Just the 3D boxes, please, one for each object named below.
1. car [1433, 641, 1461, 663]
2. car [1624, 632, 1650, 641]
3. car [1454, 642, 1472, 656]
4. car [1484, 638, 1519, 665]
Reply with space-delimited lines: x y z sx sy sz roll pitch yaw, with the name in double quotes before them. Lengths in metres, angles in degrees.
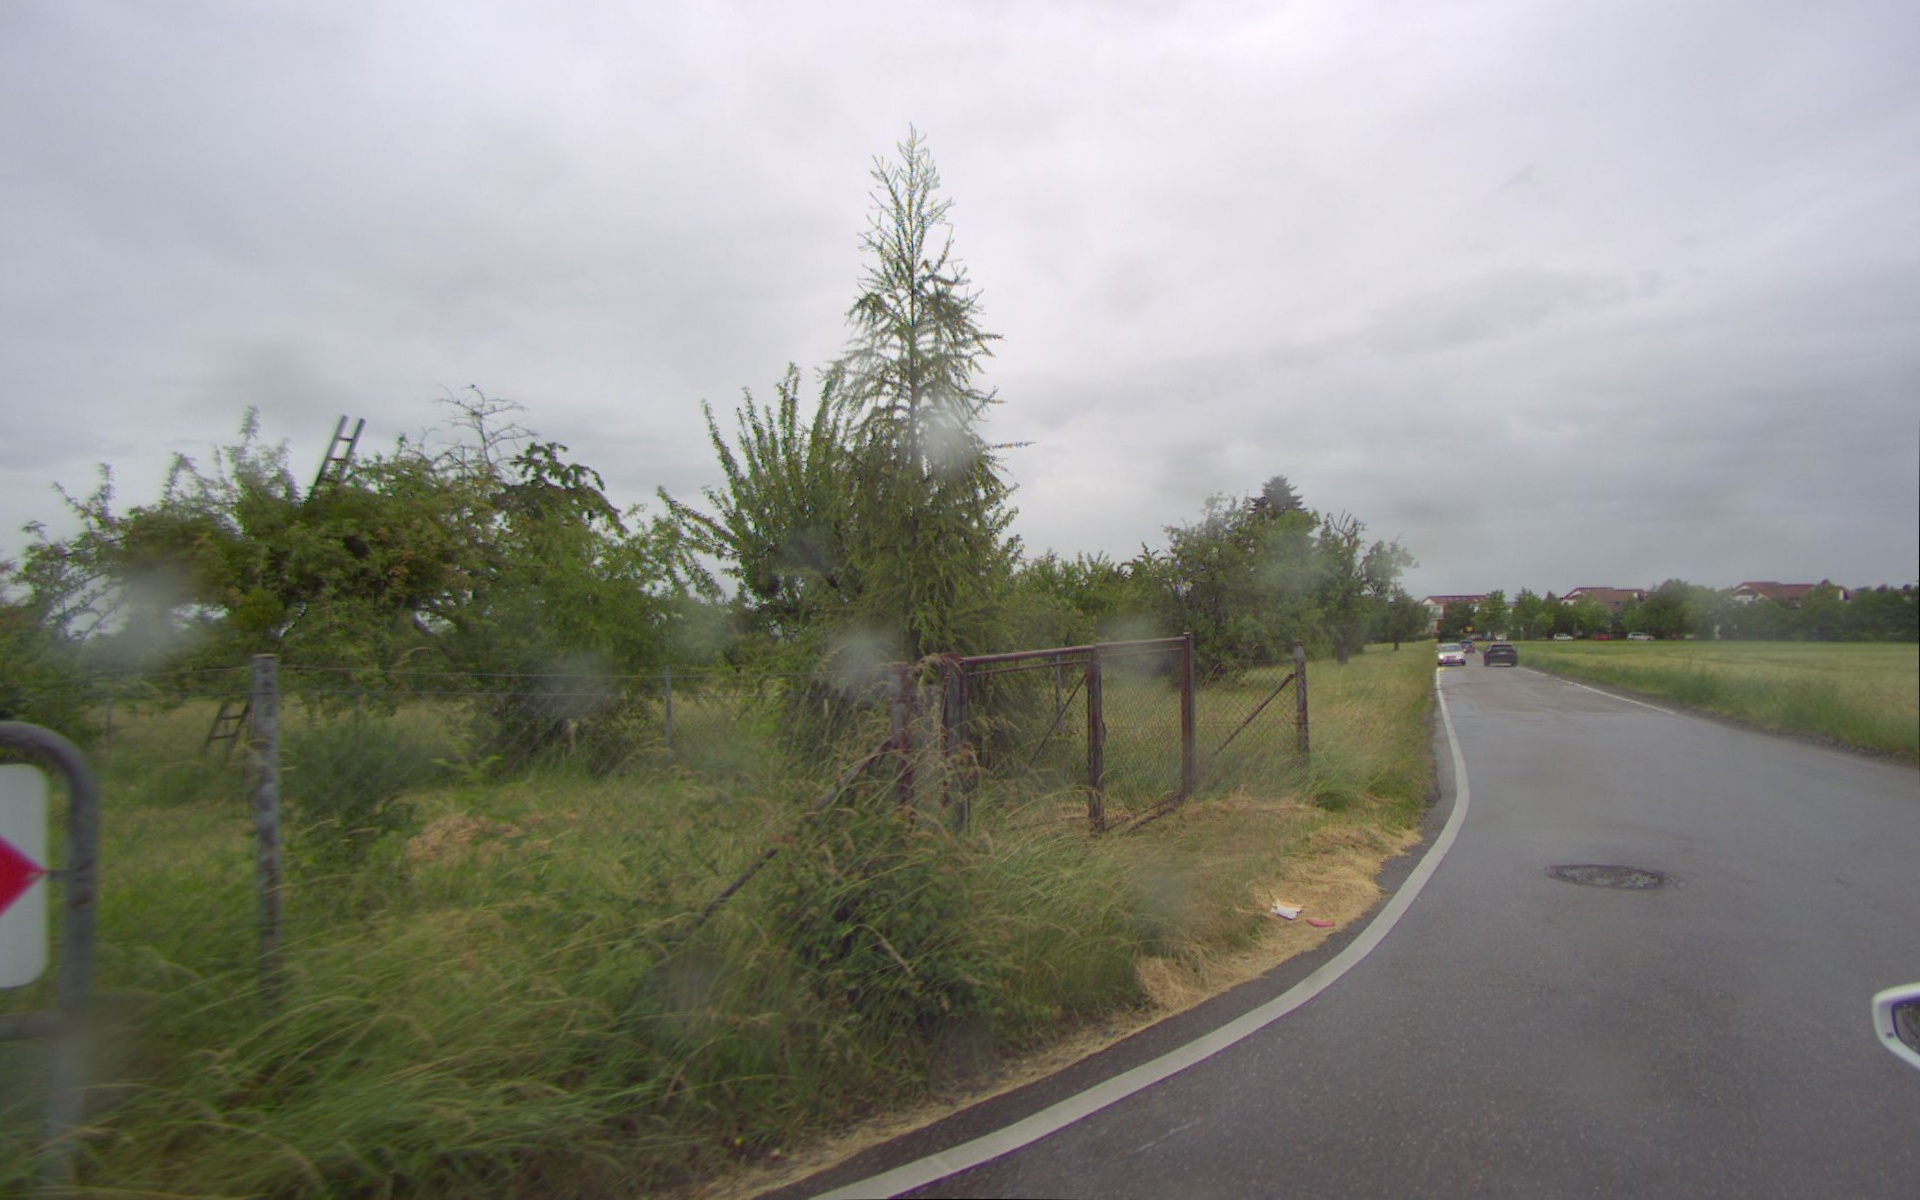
"car" 34.382 3.679 70.855 1.713 1.490 4.119 -2 -4 26
"car" 121.952 6.596 181.021 3.665 1.584 1.603 -3 -4 39
"car" 59.640 5.804 119.149 1.787 1.614 3.997 -2 -4 26
"car" 34.073 3.253 63.262 1.787 1.614 3.997 -2 -4 26
